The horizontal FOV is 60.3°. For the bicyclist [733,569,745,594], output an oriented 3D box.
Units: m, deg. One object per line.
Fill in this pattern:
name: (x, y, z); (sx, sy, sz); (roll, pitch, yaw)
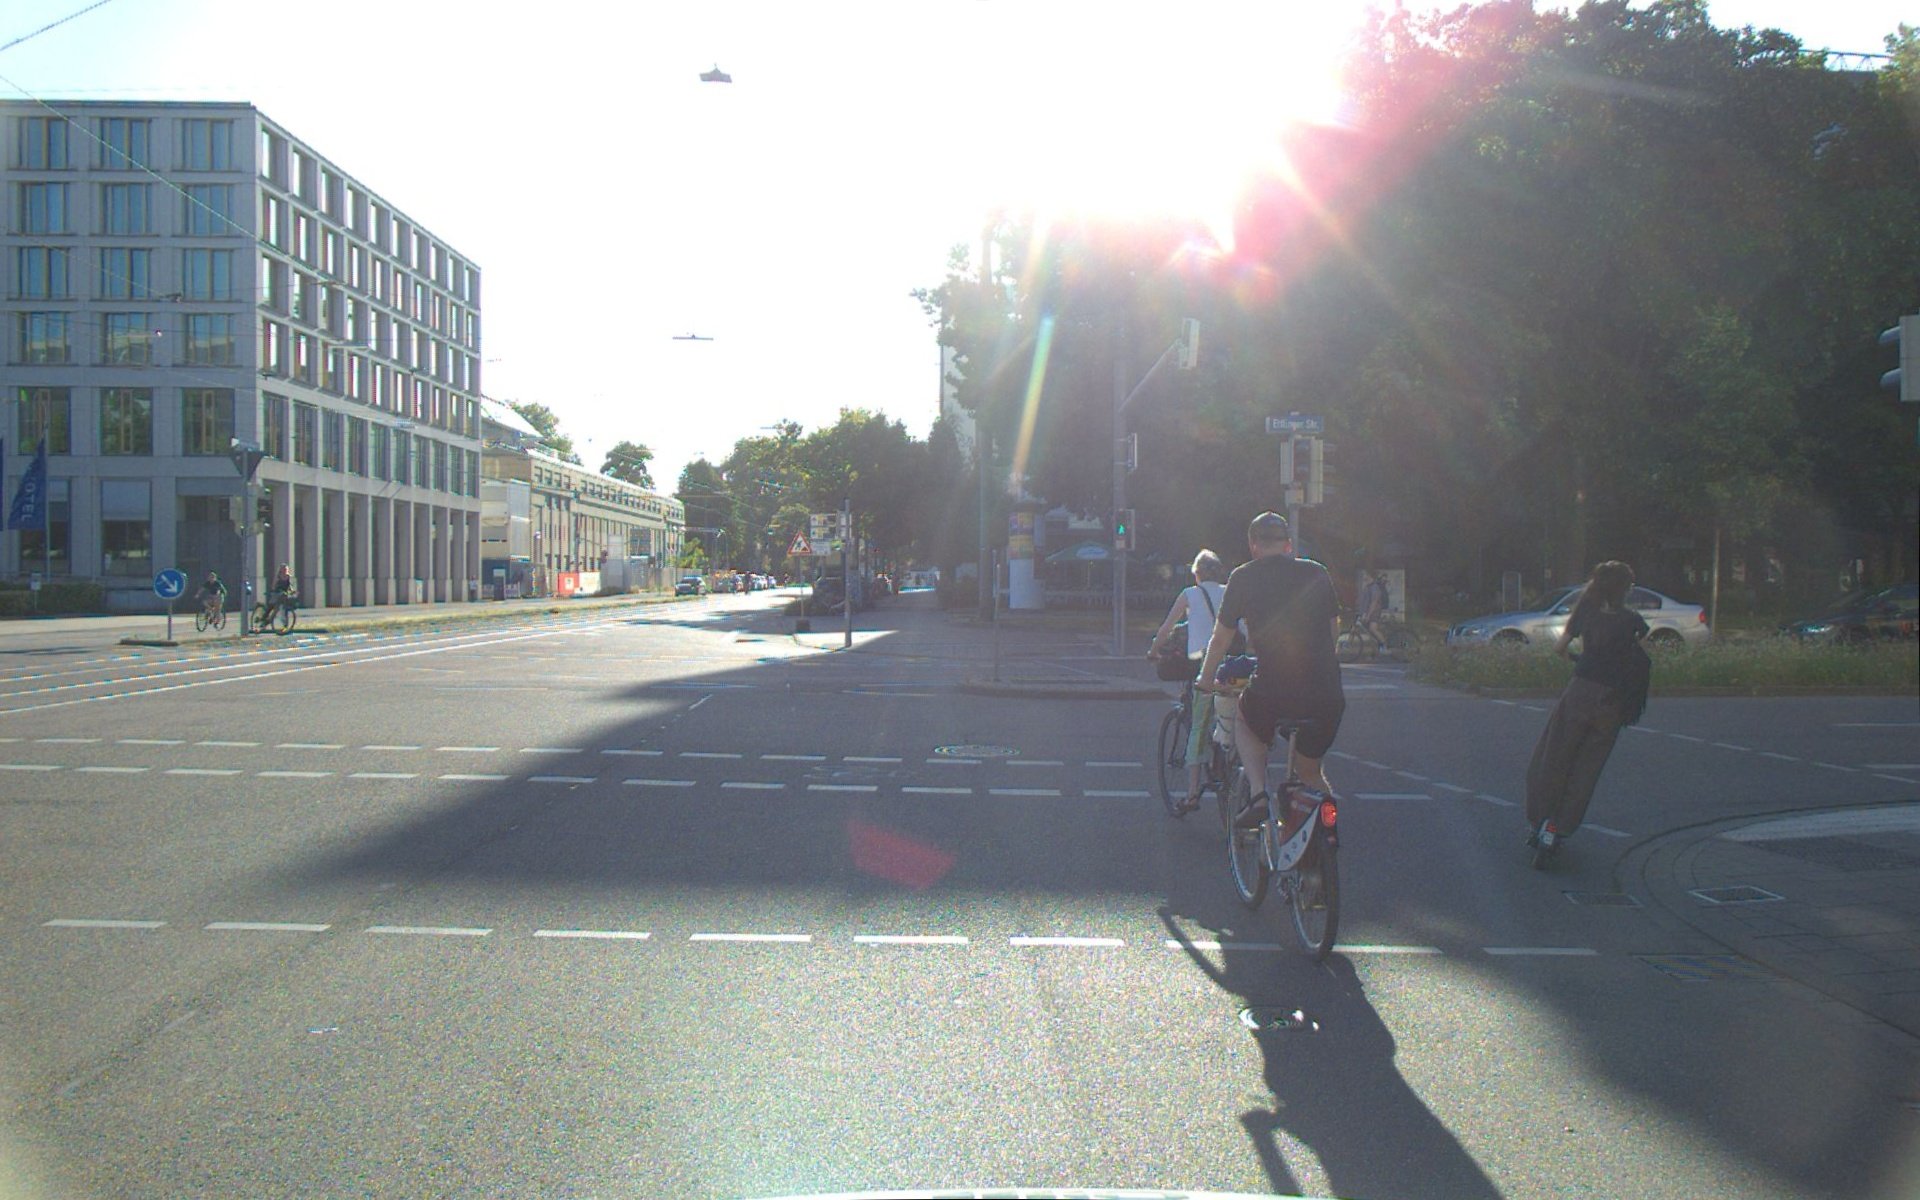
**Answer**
bicyclist: (-17.621, -1.450, 131.875); (0.735, 1.953, 1.214); (1, 0, -2)

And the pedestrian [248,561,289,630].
pedestrian: (-16.555, -0.110, 39.606); (0.727, 1.623, 0.573); (0, 0, 26)

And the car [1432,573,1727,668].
car: (10.943, 0.350, 29.430); (4.483, 1.543, 2.000); (1, 0, -1)

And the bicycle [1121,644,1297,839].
bicycle: (1.547, 0.849, 10.542); (0.571, 1.062, 1.742); (0, 1, -11)

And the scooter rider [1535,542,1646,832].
scooter rider: (3.578, 0.474, 9.410); (0.533, 1.590, 0.577); (0, 0, 16)

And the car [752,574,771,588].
car: (-22.782, -2.183, 190.085); (1.954, 1.672, 3.997); (0, 1, -4)

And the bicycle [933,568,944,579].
bicycle: (-2.561, -3.096, 195.976); (0.875, 1.240, 2.785); (1, 0, -12)

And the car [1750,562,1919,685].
car: (16.320, 0.417, 29.080); (3.905, 2.049, 2.000); (1, 0, 0)

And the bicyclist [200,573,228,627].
bicyclist: (-21.264, -0.005, 47.162); (0.484, 1.525, 0.666); (0, 0, 2)

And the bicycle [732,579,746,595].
bicycle: (-17.627, -1.057, 131.946); (0.735, 1.226, 3.107); (1, 0, -2)

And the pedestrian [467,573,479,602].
pedestrian: (-32.325, -0.854, 109.711); (0.576, 1.922, 0.478); (1, 0, 21)

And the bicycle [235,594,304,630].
bicycle: (-16.533, 0.287, 39.599); (1.679, 0.837, 0.573); (0, 0, 27)

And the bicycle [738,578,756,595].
bicycle: (-16.175, -1.020, 125.841); (0.735, 1.226, 3.110); (1, 0, 5)

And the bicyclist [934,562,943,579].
bicyclist: (-2.563, -3.499, 195.954); (0.875, 2.049, 0.746); (1, 0, -12)

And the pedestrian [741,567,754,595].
pedestrian: (-16.158, -1.435, 125.907); (0.735, 2.099, 1.050); (1, 0, 5)

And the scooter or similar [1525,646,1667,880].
scooter or similar: (3.533, 0.870, 9.263); (0.561, 1.169, 1.273); (-2, 0, 14)

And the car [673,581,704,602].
car: (-21.509, -0.712, 131.155); (1.954, 1.627, 3.998); (0, 1, -3)

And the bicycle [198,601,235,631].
bicycle: (-21.252, 0.452, 47.280); (0.484, 0.854, 1.156); (0, 0, 2)

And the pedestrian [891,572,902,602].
pedestrian: (-3.586, -0.736, 93.299); (0.566, 1.719, 0.584); (0, 0, -8)

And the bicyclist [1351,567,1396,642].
bicyclist: (8.050, 0.077, 32.197); (0.731, 1.430, 0.702); (1, 0, 6)

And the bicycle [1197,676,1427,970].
bicycle: (1.526, 0.924, 7.447); (0.610, 1.062, 1.746); (0, 1, -2)

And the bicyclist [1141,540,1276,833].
bicyclist: (1.559, 0.516, 10.488); (0.573, 1.768, 0.948); (0, 0, -10)

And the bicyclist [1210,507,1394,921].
bicyclist: (1.516, 0.474, 7.443); (0.610, 1.745, 0.912); (0, 0, -2)

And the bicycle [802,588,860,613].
bicycle: (-4.901, 0.015, 62.840); (2.201, 0.956, 0.653); (0, 0, -6)

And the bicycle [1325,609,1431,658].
bicycle: (8.128, 0.653, 32.194); (1.902, 0.905, 0.718); (1, 0, 5)
